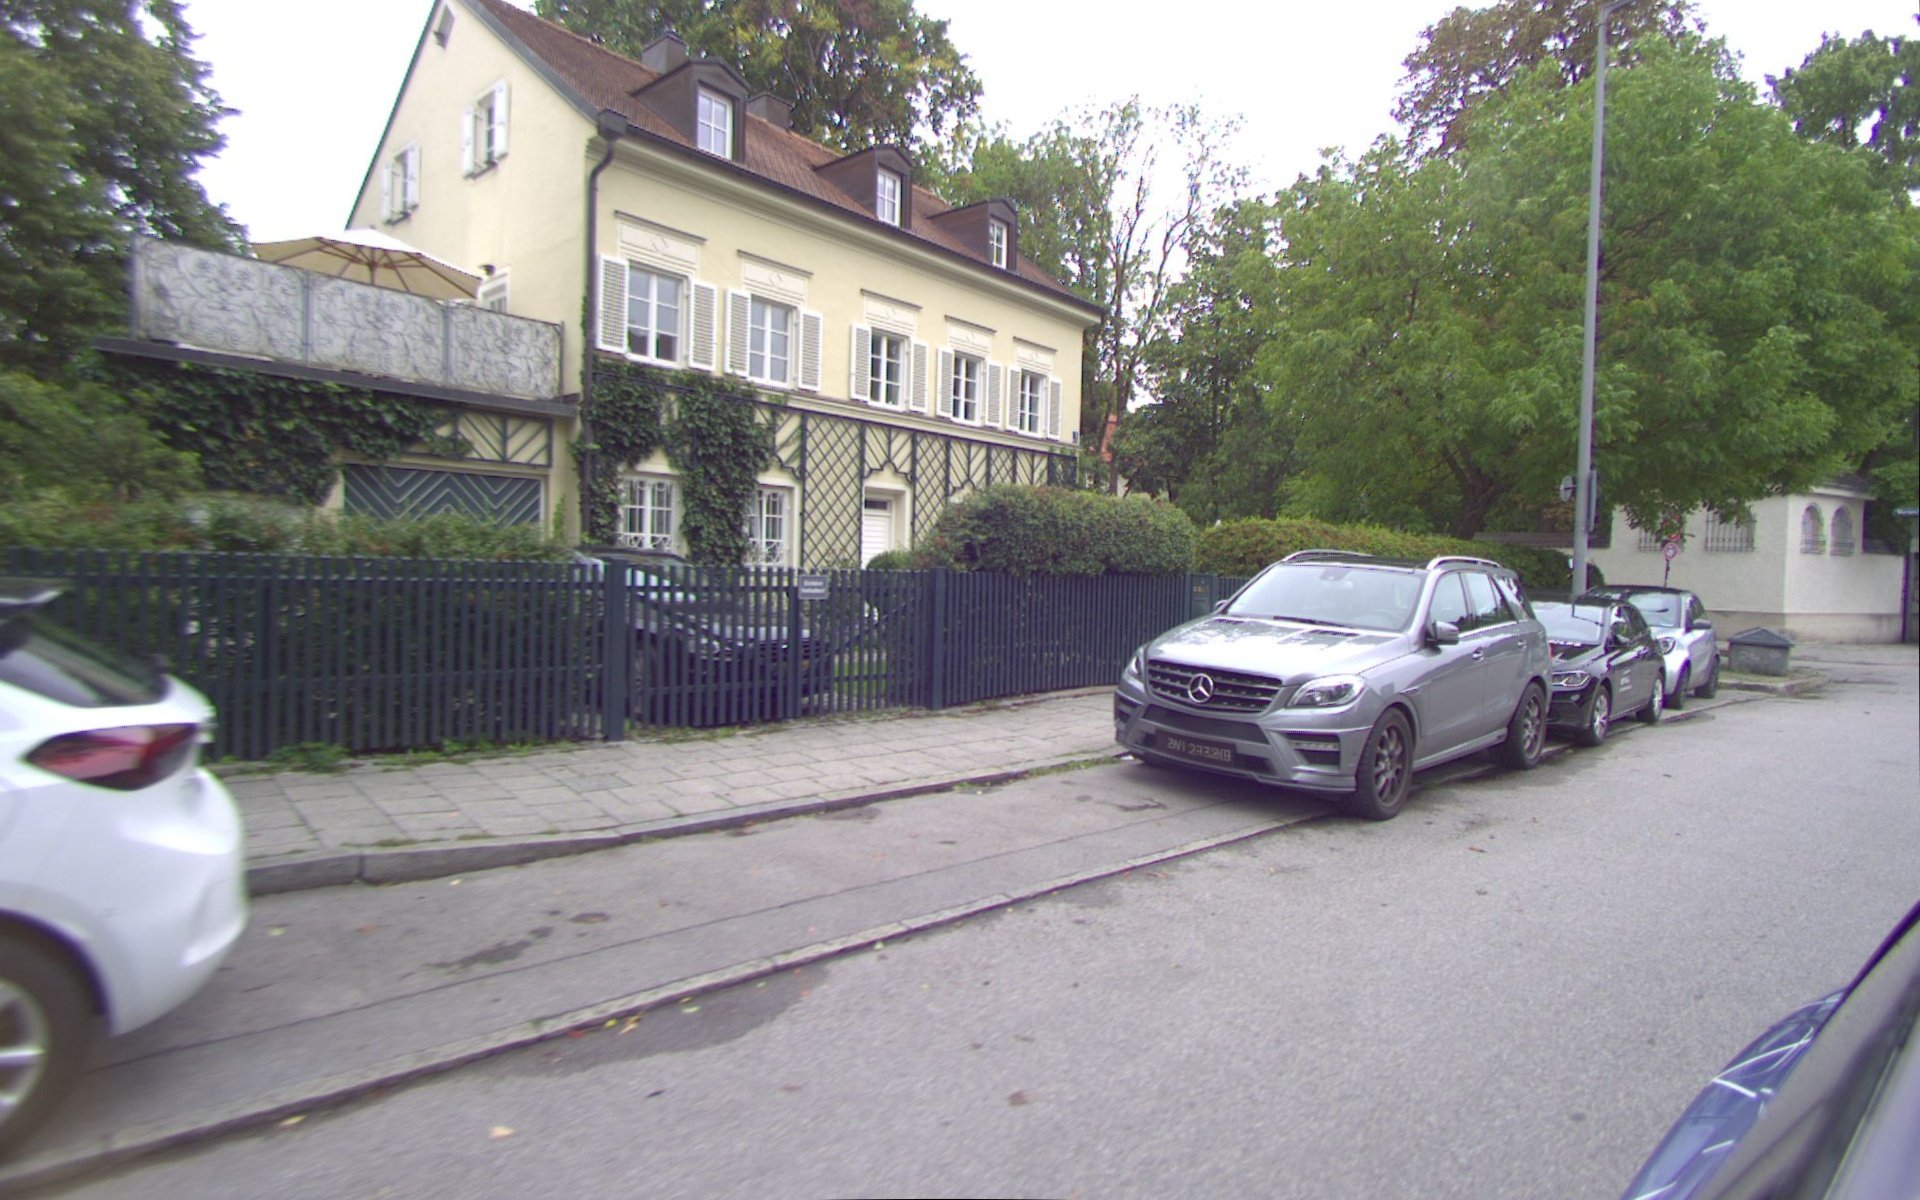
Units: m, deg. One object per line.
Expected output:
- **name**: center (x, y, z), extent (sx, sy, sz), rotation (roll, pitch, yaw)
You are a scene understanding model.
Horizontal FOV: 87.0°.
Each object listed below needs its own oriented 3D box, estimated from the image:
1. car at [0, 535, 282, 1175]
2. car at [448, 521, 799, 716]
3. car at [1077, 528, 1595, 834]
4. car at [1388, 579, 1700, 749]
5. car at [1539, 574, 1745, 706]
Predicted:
- **car**: center (-3.817, 0.563, 2.029), extent (3.930, 1.458, 1.689), rotation (-1, 4, -41)
- **car**: center (-3.545, 0.039, 10.213), extent (4.075, 1.518, 1.654), rotation (5, 4, 44)
- **car**: center (3.289, 0.413, 8.222), extent (4.803, 1.732, 1.996), rotation (0, 4, -44)
- **car**: center (6.644, 0.566, 11.317), extent (4.152, 1.444, 1.880), rotation (0, 4, -44)
- **car**: center (9.573, 0.458, 14.153), extent (2.897, 1.554, 1.741), rotation (-1, 5, -44)
